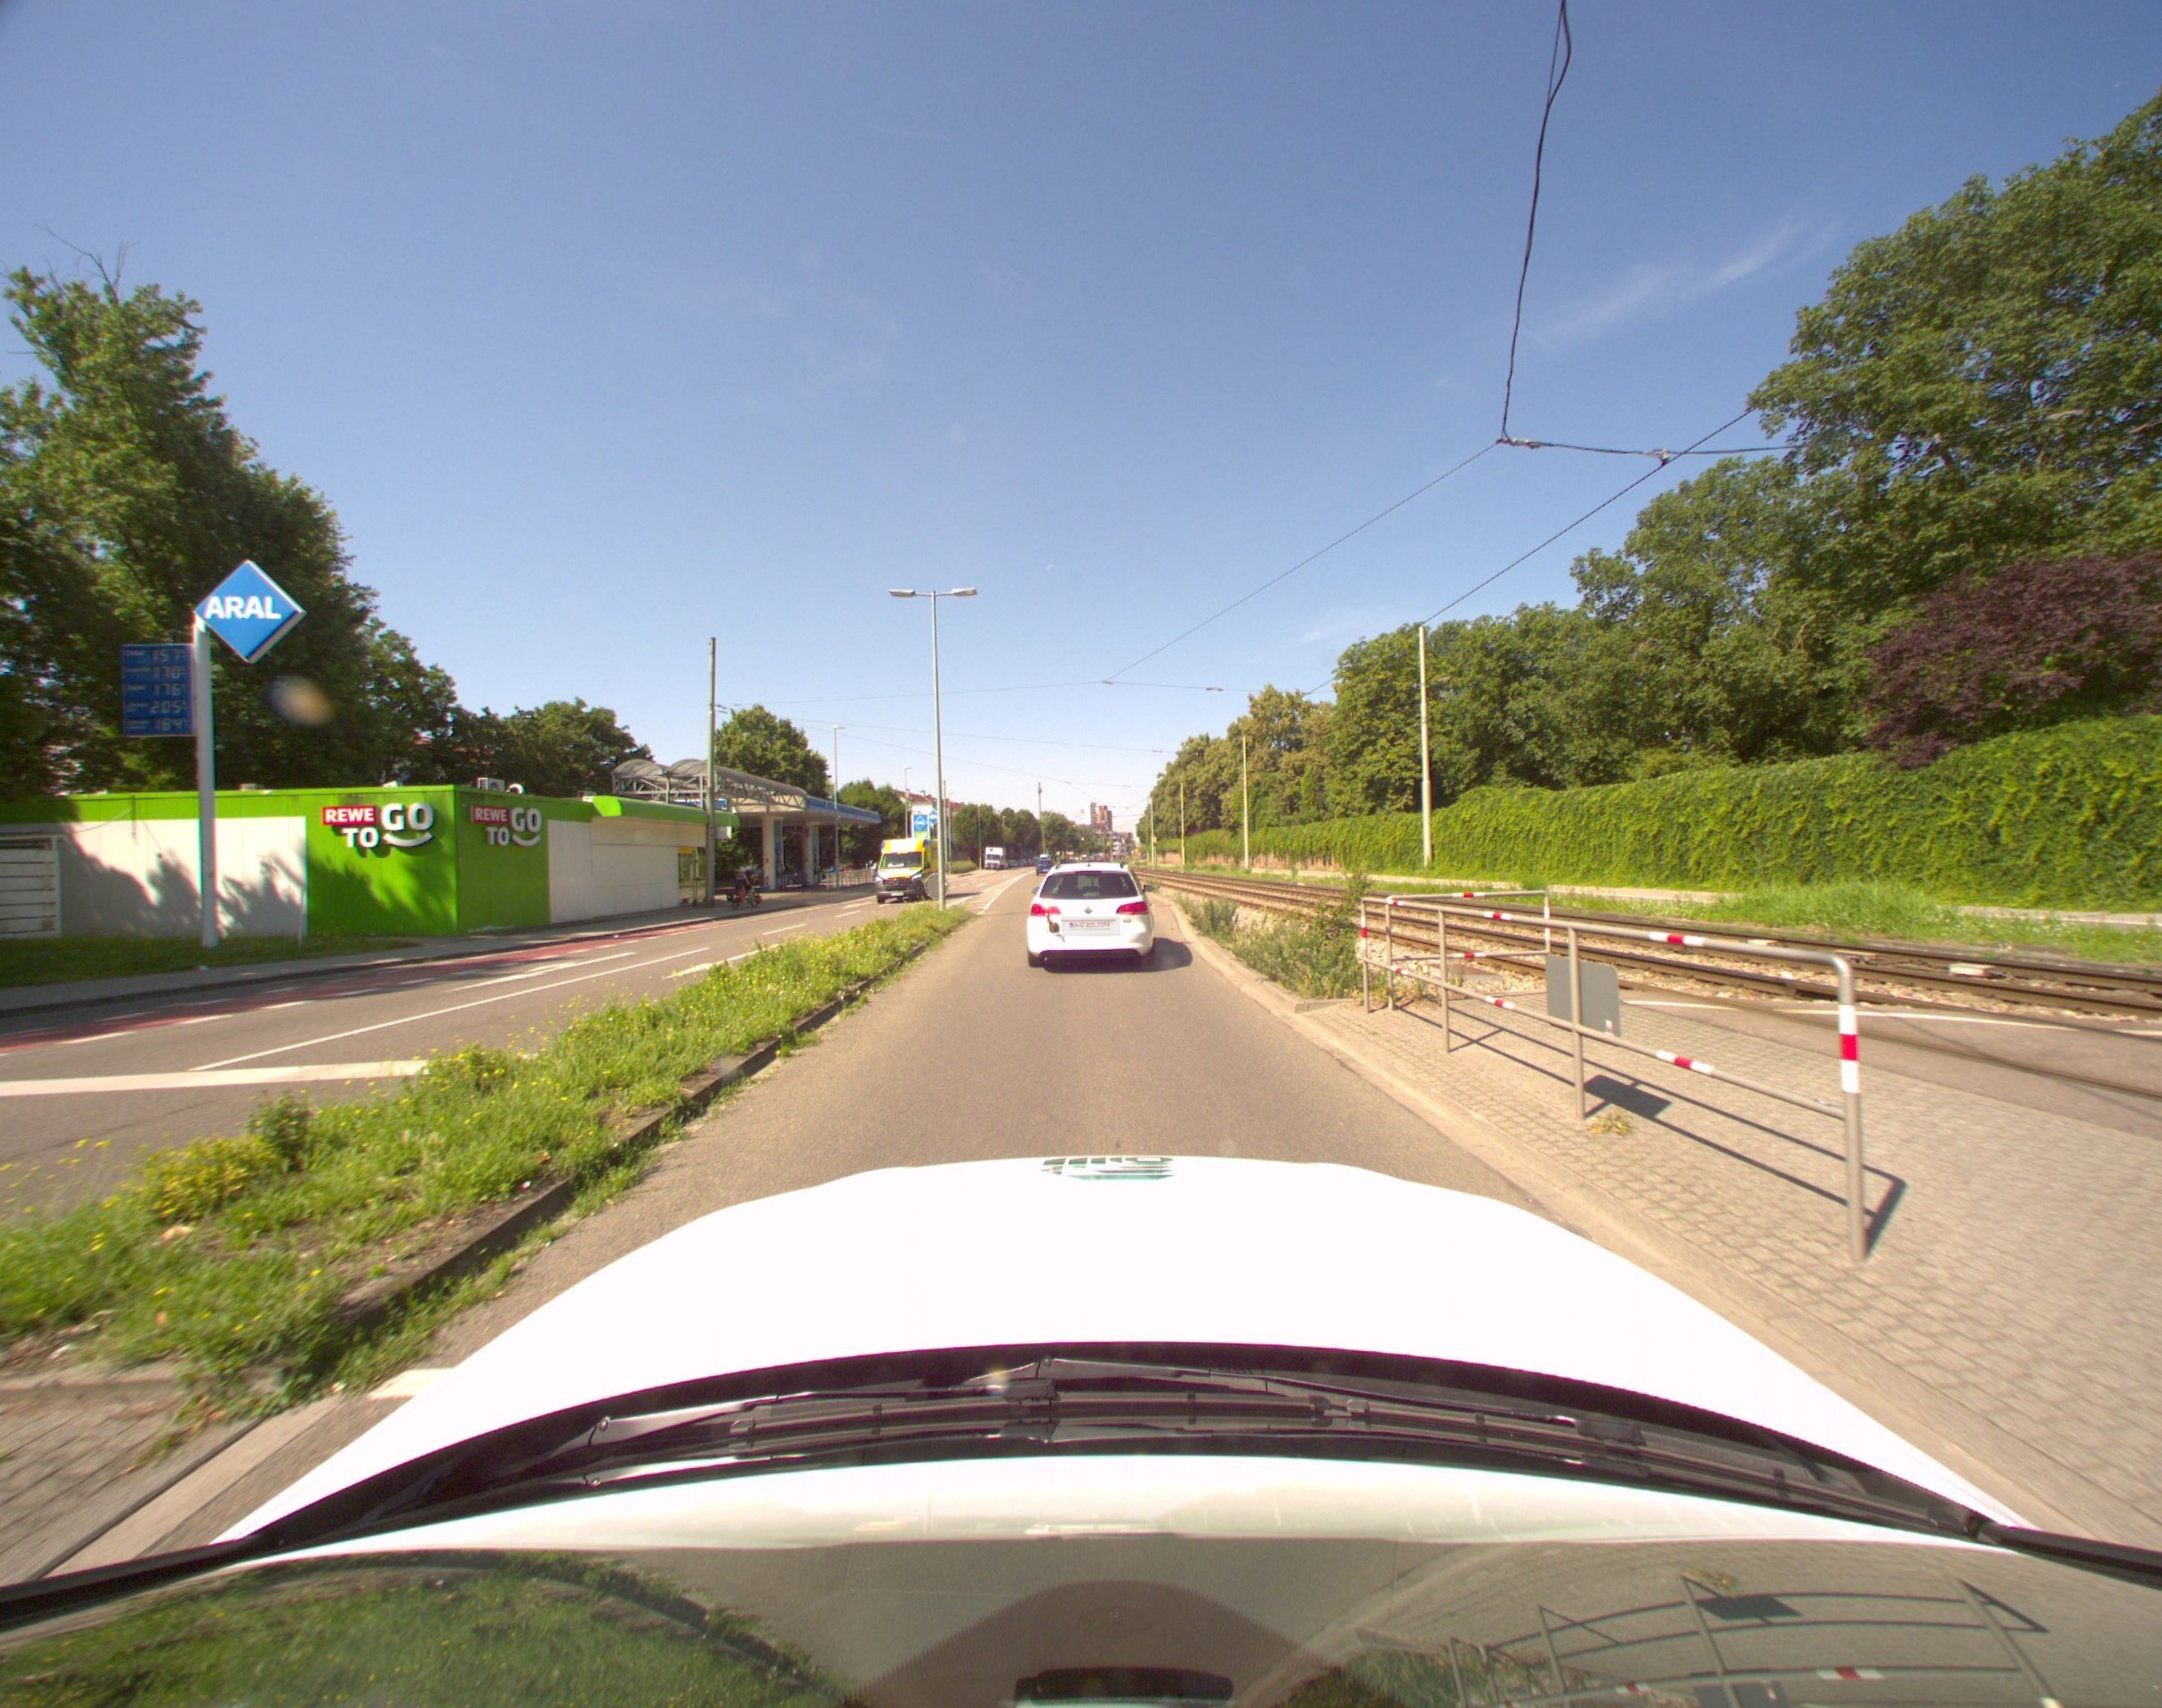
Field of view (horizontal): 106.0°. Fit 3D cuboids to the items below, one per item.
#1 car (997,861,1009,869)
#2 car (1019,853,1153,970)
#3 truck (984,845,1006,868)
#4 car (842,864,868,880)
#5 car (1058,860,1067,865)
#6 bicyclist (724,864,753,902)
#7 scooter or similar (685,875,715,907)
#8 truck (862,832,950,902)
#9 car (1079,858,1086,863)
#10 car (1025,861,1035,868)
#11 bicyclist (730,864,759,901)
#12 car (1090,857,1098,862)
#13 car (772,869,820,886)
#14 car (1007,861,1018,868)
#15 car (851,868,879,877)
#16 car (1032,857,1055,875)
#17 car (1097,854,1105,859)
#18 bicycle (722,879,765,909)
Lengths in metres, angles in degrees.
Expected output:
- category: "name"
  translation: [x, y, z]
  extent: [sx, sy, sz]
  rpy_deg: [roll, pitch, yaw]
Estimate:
- category: "car"
  translation: [-13.485, 1.887, 140.434]
  extent: [1.752, 1.429, 4.279]
  rpy_deg: [0, 0, -1]
- category: "car"
  translation: [0.049, 0.747, 12.553]
  extent: [1.686, 1.451, 4.457]
  rpy_deg: [-1, 0, 0]
- category: "truck"
  translation: [-13.461, 0.455, 128.212]
  extent: [2.659, 3.530, 8.586]
  rpy_deg: [0, 0, -1]
- category: "car"
  translation: [-25.654, 2.071, 92.626]
  extent: [1.795, 1.570, 4.515]
  rpy_deg: [-2, 1, -2]
- category: "car"
  translation: [-5.166, 2.502, 231.850]
  extent: [1.689, 1.417, 4.012]
  rpy_deg: [-2, -1, 10]
- category: "bicyclist"
  translation: [-13.635, 1.134, 32.439]
  extent: [0.846, 1.435, 0.831]
  rpy_deg: [-1, 1, -6]
- category: "scooter or similar"
  translation: [-15.633, 1.493, 33.437]
  extent: [0.439, 1.237, 1.348]
  rpy_deg: [-2, 0, 8]
- category: "truck"
  translation: [-7.565, 0.531, 36.086]
  extent: [2.324, 2.668, 7.355]
  rpy_deg: [-3, 0, -1]
- category: "car"
  translation: [0.450, 1.932, 242.509]
  extent: [1.651, 1.420, 4.314]
  rpy_deg: [-4, -1, 4]
- category: "car"
  translation: [-11.447, 2.278, 182.610]
  extent: [1.682, 1.474, 4.053]
  rpy_deg: [1, -1, 5]
- category: "bicyclist"
  translation: [-13.700, 1.143, 33.141]
  extent: [0.846, 1.436, 0.831]
  rpy_deg: [-2, 0, -6]
- category: "car"
  translation: [3.696, 1.555, 229.105]
  extent: [1.791, 1.507, 4.007]
  rpy_deg: [-1, 0, 6]
- category: "car"
  translation: [-26.454, 2.197, 75.680]
  extent: [1.784, 1.346, 4.266]
  rpy_deg: [-2, 0, 22]
- category: "car"
  translation: [-13.289, 2.058, 158.959]
  extent: [1.775, 1.483, 4.856]
  rpy_deg: [0, -1, 0]
- category: "car"
  translation: [-32.829, 2.801, 123.829]
  extent: [3.629, 1.205, 1.579]
  rpy_deg: [-2, -1, 9]
- category: "car"
  translation: [-3.371, 1.075, 73.767]
  extent: [1.794, 1.507, 4.000]
  rpy_deg: [-1, 0, 0]
- category: "car"
  translation: [6.005, 0.809, 242.018]
  extent: [1.791, 1.460, 4.007]
  rpy_deg: [-2, -1, 6]
- category: "bicycle"
  translation: [-13.687, 1.594, 33.097]
  extent: [0.824, 1.094, 2.766]
  rpy_deg: [-2, 0, -6]
